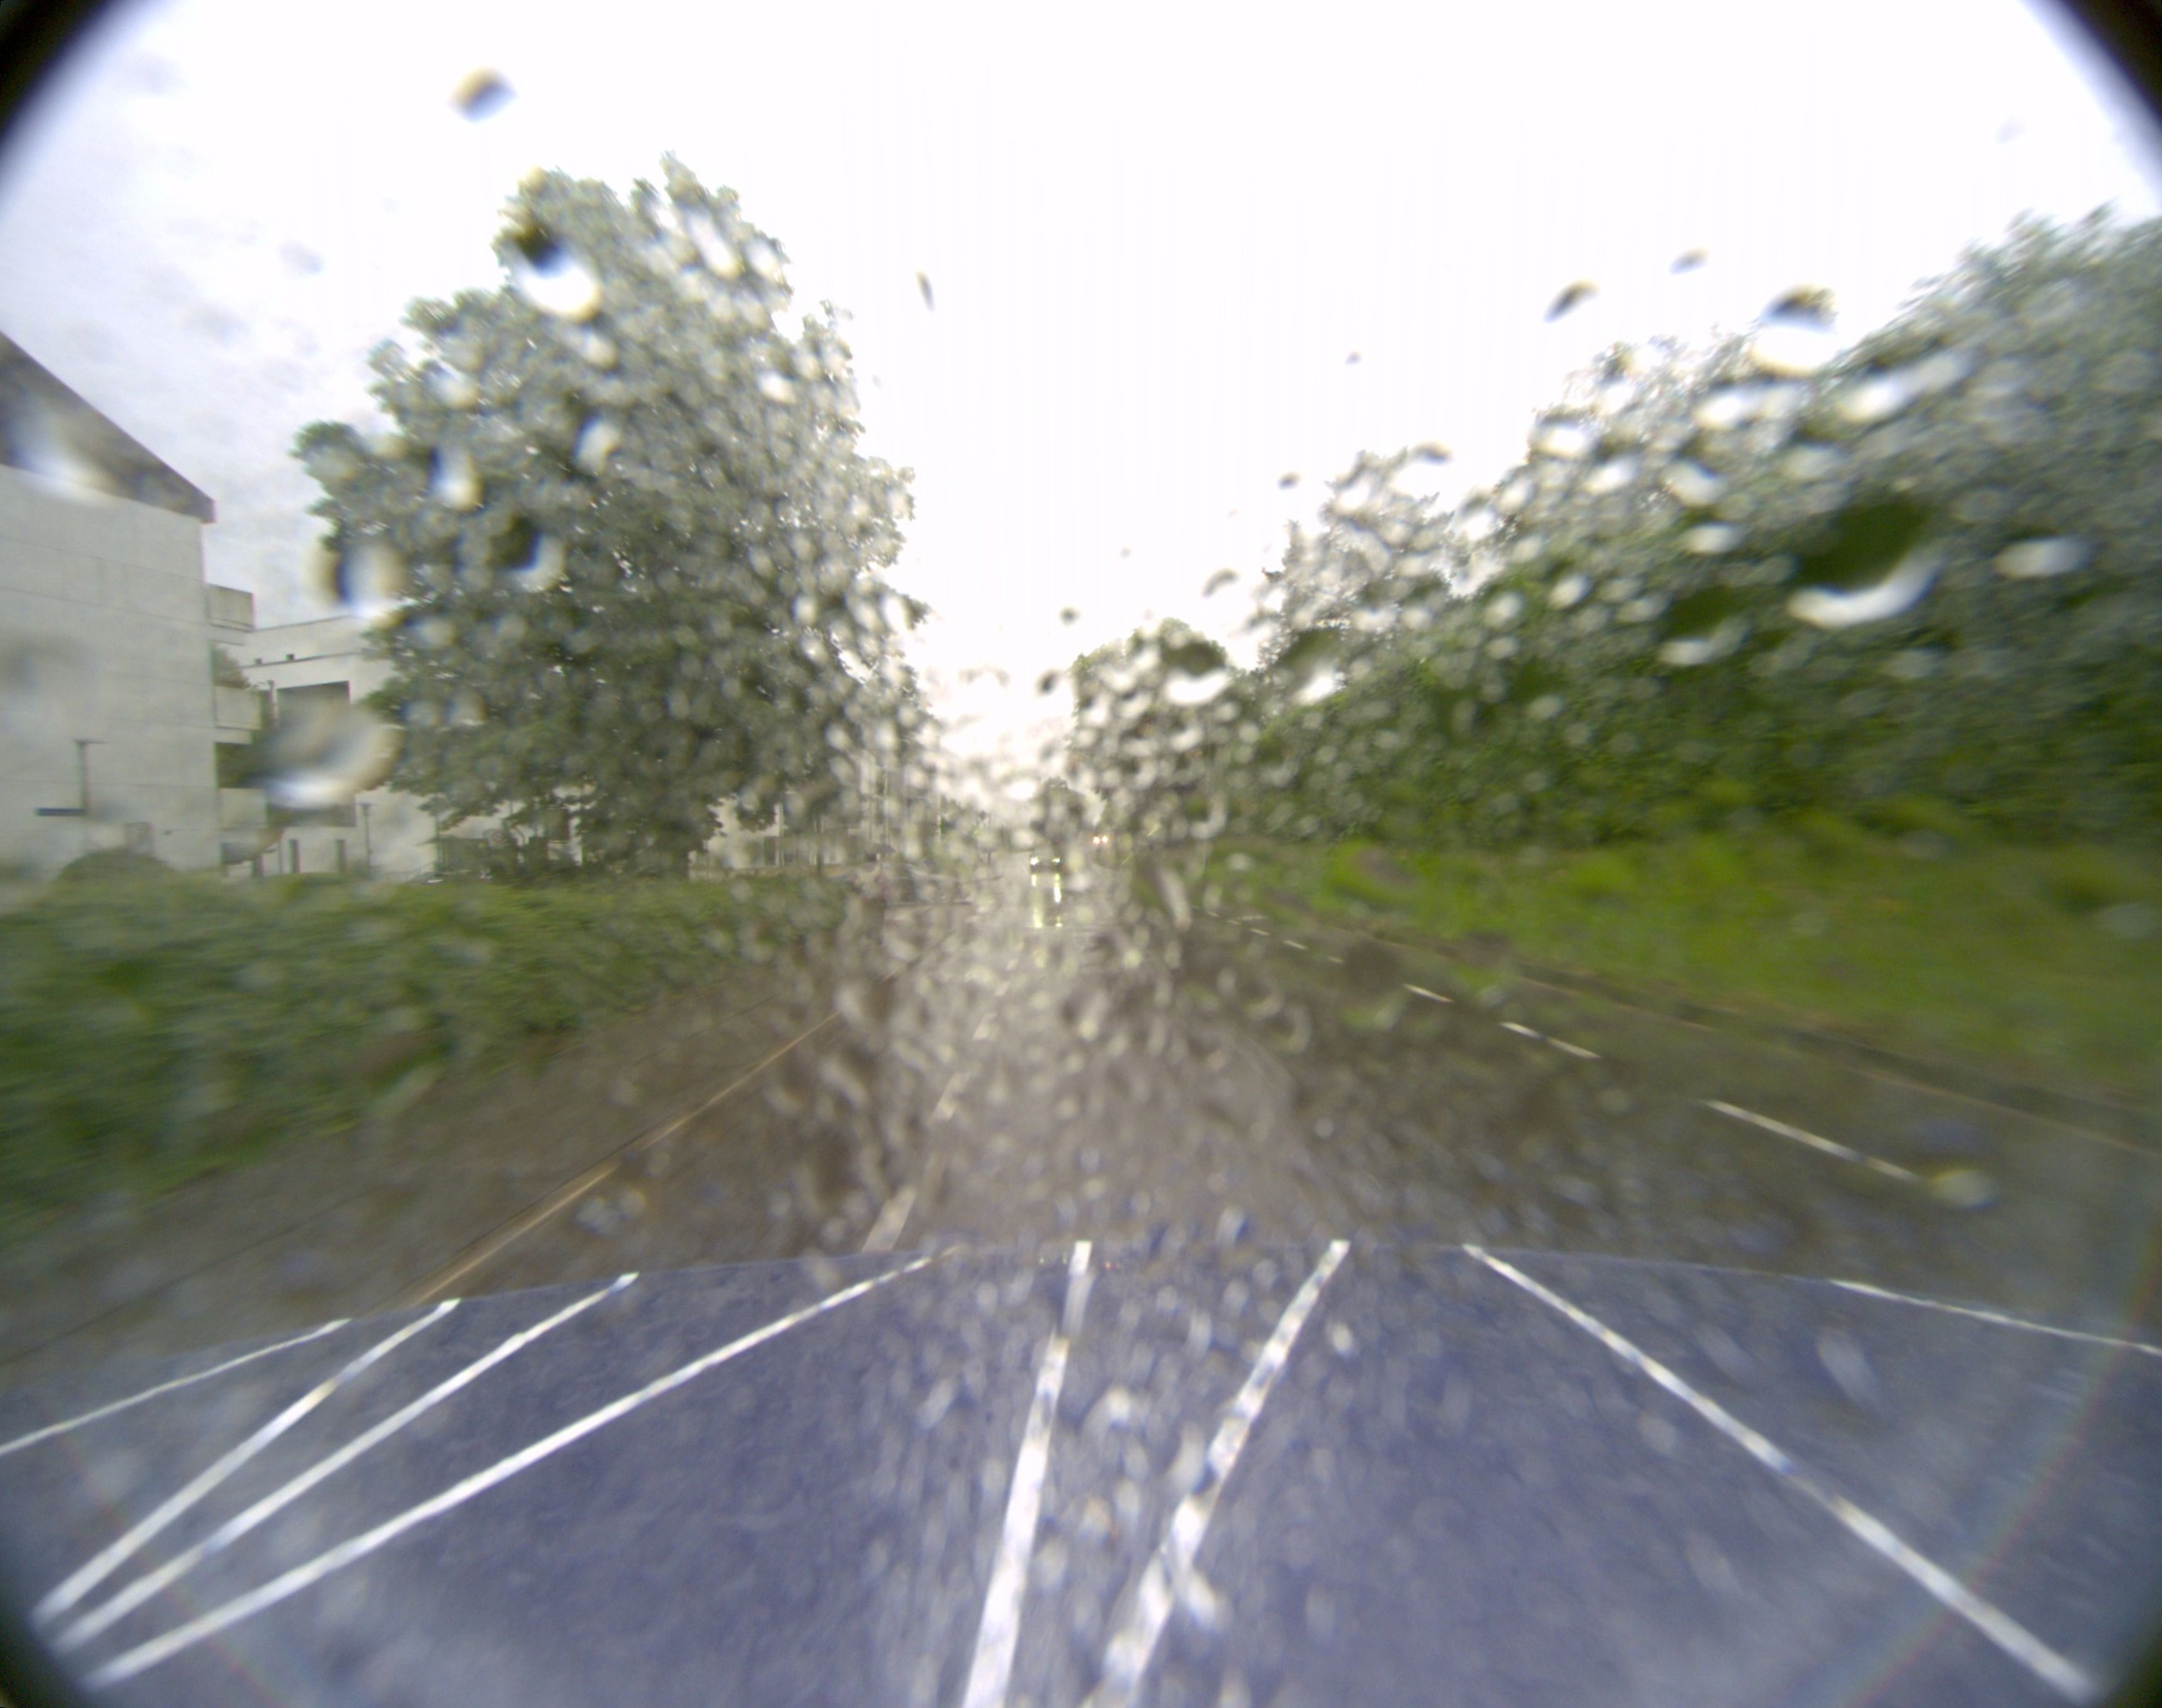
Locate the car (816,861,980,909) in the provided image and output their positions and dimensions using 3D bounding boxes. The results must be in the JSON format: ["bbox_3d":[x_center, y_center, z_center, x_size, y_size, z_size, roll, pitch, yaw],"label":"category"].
[{"bbox_3d":[-5.801,0.962,24.454,4.809,1.406,1.808,1,0,0],"label":"car"}]

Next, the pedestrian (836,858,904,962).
[{"bbox_3d":[-3.228,0.828,11.675,0.770,1.517,0.873,1,1,1],"label":"pedestrian"}]

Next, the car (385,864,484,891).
[{"bbox_3d":[-37.167,1.333,43.805,1.756,1.413,4.006,1,0,18],"label":"car"}]

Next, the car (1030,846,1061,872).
[{"bbox_3d":[-2.391,0.293,50.304,1.800,1.543,3.997,-2,2,-5],"label":"car"}]

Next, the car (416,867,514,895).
[{"bbox_3d":[-34.749,1.470,43.007,1.756,1.413,4.006,1,0,18],"label":"car"}]

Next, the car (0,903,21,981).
[{"bbox_3d":[-21.596,1.620,13.813,3.654,1.401,1.669,0,1,18],"label":"car"}]
